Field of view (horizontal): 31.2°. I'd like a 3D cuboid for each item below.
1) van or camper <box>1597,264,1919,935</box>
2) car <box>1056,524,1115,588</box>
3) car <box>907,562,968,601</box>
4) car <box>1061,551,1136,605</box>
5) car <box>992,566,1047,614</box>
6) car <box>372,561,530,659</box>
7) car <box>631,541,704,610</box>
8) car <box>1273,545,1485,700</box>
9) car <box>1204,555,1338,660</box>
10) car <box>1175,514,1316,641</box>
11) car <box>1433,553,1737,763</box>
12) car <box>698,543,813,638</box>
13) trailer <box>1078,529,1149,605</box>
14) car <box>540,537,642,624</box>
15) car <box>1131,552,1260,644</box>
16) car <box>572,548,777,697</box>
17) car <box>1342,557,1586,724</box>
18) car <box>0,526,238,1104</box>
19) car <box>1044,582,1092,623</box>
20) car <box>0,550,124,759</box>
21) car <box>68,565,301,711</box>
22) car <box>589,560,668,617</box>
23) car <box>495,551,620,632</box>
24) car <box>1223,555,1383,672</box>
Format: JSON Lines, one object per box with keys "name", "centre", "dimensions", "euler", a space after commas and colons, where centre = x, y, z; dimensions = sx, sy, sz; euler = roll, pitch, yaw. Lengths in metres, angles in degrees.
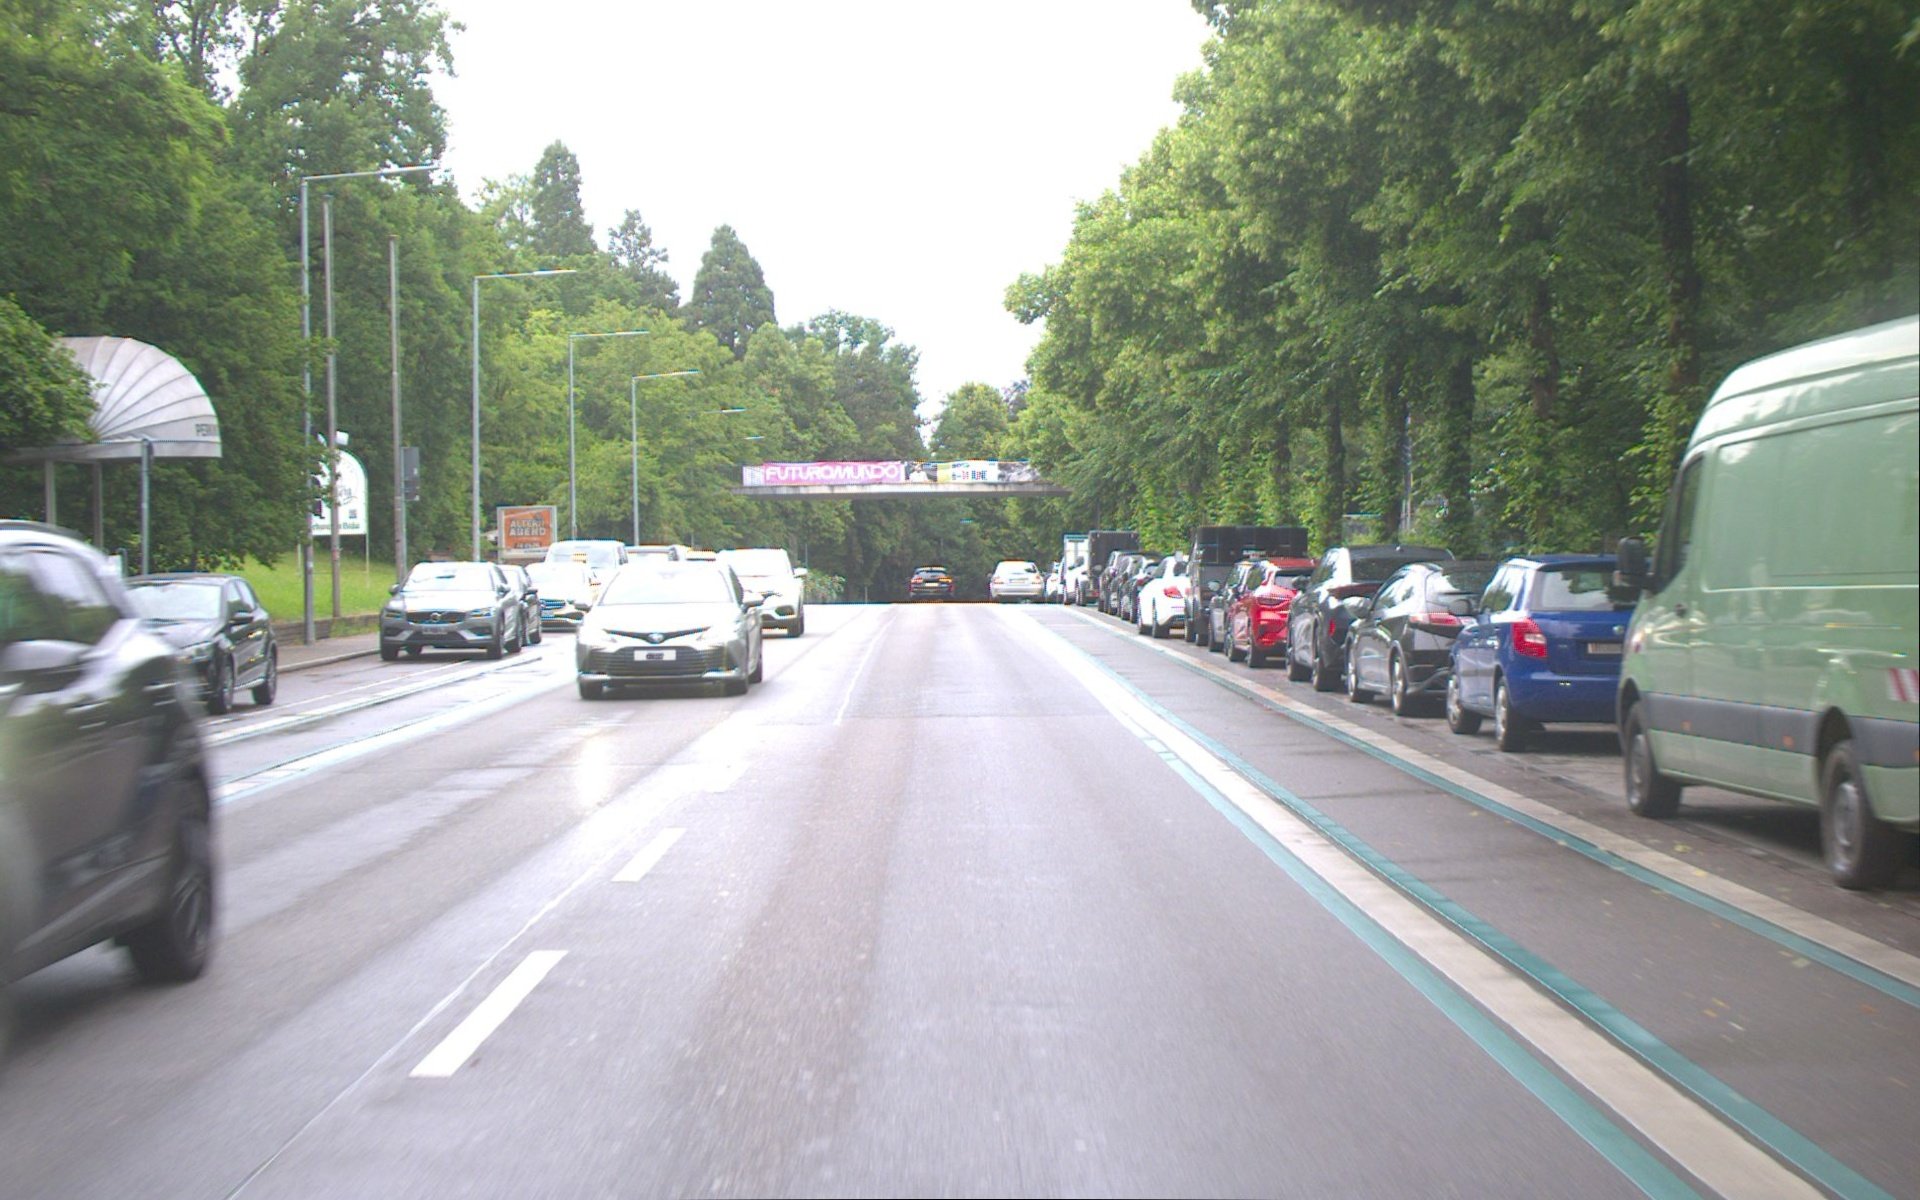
{"name": "van or camper", "centre": [4.907, -0.049, 17.293], "dimensions": [2.042, 2.720, 6.901], "euler": [1, 1, 0]}
{"name": "car", "centre": [4.234, -1.492, 116.710], "dimensions": [1.889, 2.120, 4.045], "euler": [0, 1, 1]}
{"name": "car", "centre": [-0.919, -0.755, 137.242], "dimensions": [2.140, 1.487, 4.499], "euler": [1, 1, -4]}
{"name": "car", "centre": [4.175, -0.678, 104.102], "dimensions": [1.731, 1.578, 4.155], "euler": [-1, 1, -5]}
{"name": "car", "centre": [2.018, -0.360, 117.249], "dimensions": [1.731, 1.578, 4.037], "euler": [-1, 1, -1]}
{"name": "car", "centre": [-8.052, 0.129, 54.752], "dimensions": [2.077, 1.477, 4.674], "euler": [0, 1, -3]}
{"name": "car", "centre": [-8.654, -0.751, 102.106], "dimensions": [1.882, 1.938, 4.827], "euler": [-1, 1, -2]}
{"name": "car", "centre": [4.588, 0.201, 38.216], "dimensions": [1.756, 1.584, 4.499], "euler": [1, 1, 0]}
{"name": "car", "centre": [4.581, 0.080, 51.017], "dimensions": [1.606, 1.448, 3.747], "euler": [1, 1, 0]}
{"name": "car", "centre": [4.674, -0.393, 56.833], "dimensions": [1.926, 2.015, 4.664], "euler": [0, 1, 0]}
{"name": "car", "centre": [4.901, 0.406, 27.448], "dimensions": [1.686, 1.508, 3.835], "euler": [1, 1, 0]}
{"name": "car", "centre": [-3.726, -0.204, 63.173], "dimensions": [1.795, 1.646, 4.129], "euler": [-2, 1, 0]}
{"name": "trailer", "centre": [4.455, -0.960, 99.984], "dimensions": [1.884, 2.158, 3.808], "euler": [-1, 1, 0]}
{"name": "car", "centre": [-8.544, -0.481, 79.924], "dimensions": [1.913, 1.925, 4.928], "euler": [-1, 1, -1]}
{"name": "car", "centre": [4.183, -0.062, 61.723], "dimensions": [1.789, 1.537, 4.890], "euler": [1, 1, -2]}
{"name": "car", "centre": [-3.122, 0.204, 38.418], "dimensions": [1.921, 1.555, 4.621], "euler": [0, 1, 0]}
{"name": "car", "centre": [4.760, 0.337, 32.979], "dimensions": [1.686, 1.451, 4.146], "euler": [1, 1, 0]}
{"name": "car", "centre": [-3.690, 0.601, 10.660], "dimensions": [1.966, 1.622, 4.321], "euler": [-1, 1, 0]}
{"name": "car", "centre": [4.034, 0.075, 128.875], "dimensions": [1.731, 1.457, 4.045], "euler": [-1, 1, 1]}
{"name": "car", "centre": [-8.050, 0.362, 27.208], "dimensions": [1.956, 1.458, 4.757], "euler": [0, 1, -3]}
{"name": "car", "centre": [-8.292, 0.368, 37.052], "dimensions": [1.670, 1.452, 3.993], "euler": [1, 1, -1]}
{"name": "car", "centre": [-8.697, -0.322, 90.387], "dimensions": [1.731, 1.385, 4.371], "euler": [-1, 1, -1]}
{"name": "car", "centre": [-8.577, -0.214, 73.663], "dimensions": [1.990, 1.600, 4.985], "euler": [-1, 1, 1]}
{"name": "car", "centre": [4.552, 0.141, 46.073], "dimensions": [1.686, 1.448, 4.166], "euler": [1, 1, 0]}
